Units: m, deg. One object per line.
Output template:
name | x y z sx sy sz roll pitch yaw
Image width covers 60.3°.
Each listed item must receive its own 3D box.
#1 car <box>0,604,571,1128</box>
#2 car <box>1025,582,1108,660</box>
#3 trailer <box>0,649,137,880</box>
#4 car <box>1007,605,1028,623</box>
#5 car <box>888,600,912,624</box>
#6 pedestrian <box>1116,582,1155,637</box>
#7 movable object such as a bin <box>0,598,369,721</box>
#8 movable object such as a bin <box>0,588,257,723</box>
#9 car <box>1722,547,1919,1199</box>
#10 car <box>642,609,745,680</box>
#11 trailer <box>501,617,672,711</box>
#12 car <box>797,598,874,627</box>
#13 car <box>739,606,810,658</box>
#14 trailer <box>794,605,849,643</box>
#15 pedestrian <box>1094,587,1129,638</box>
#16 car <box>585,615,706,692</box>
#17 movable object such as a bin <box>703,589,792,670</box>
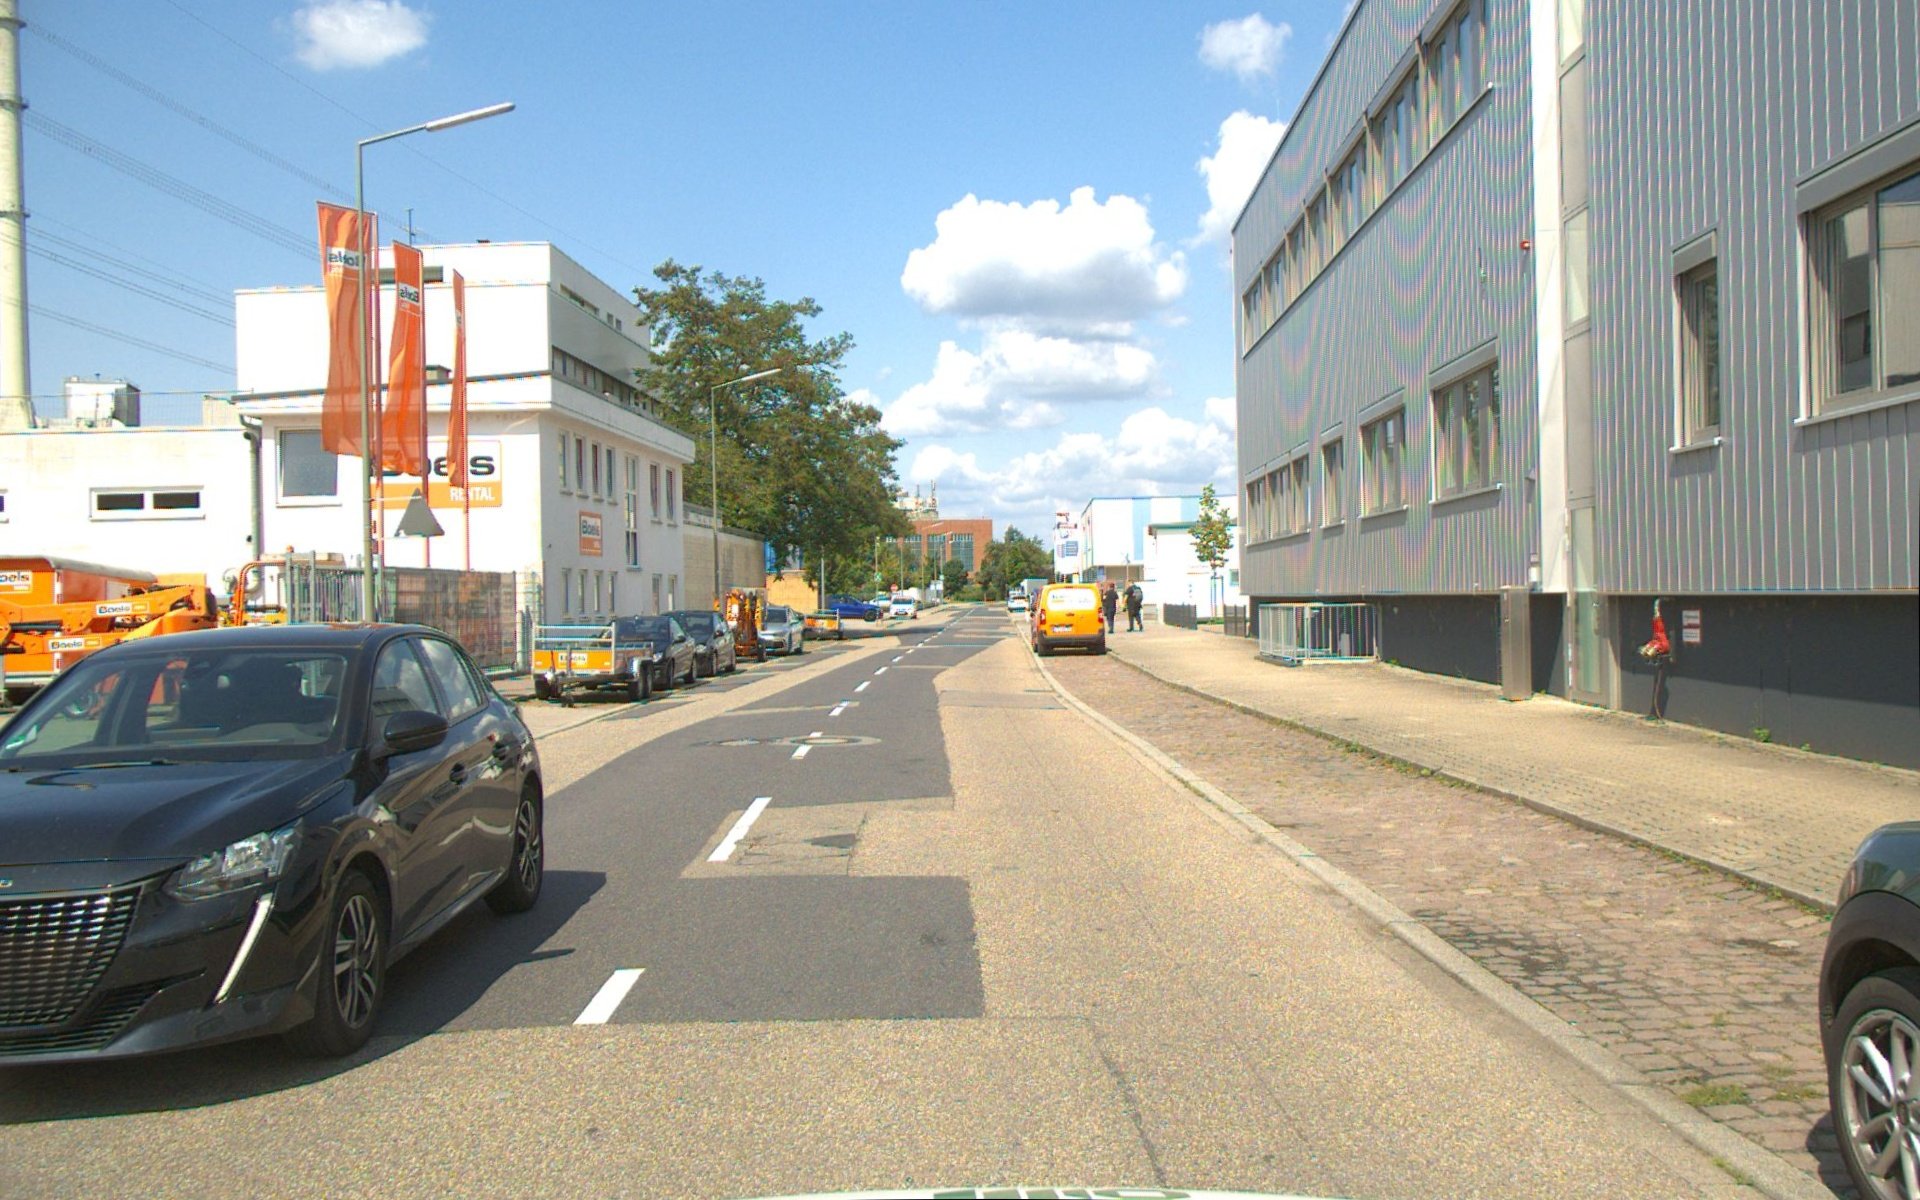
car | -2.885 0.802 6.750 1.700 1.467 3.998 -3 0 -2
car | 2.826 0.553 44.773 1.834 1.925 4.452 3 -1 -1
trailer | -6.268 0.863 7.109 2.400 1.184 6.052 0 -1 0
car | 5.123 1.215 147.878 1.829 1.547 4.598 -1 -1 1
car | -4.274 0.865 117.786 1.651 1.693 3.998 0 0 -2
pedestrian | 6.507 0.365 61.278 0.975 1.986 1.084 -2 -1 -21
movable object such as a bin | -14.499 1.022 29.123 7.452 2.040 1.903 0 0 -7
movable object such as a bin | -14.873 0.856 26.003 6.729 2.040 1.903 0 0 -7
car | 3.063 0.653 2.700 1.675 1.537 4.114 1 -1 -1
car | -5.851 0.959 36.717 1.639 1.481 4.223 0 -1 0
trailer | -6.077 0.997 27.504 1.731 1.400 5.050 0 -1 0
car | -7.970 0.822 105.812 4.604 1.621 1.910 -3 0 -12
car | -5.509 0.933 49.453 1.639 1.481 4.513 0 -1 0
trailer | -5.517 0.951 66.337 1.730 1.464 4.336 1 -1 1
pedestrian | 5.542 0.455 60.535 0.844 1.839 0.999 -2 -1 -21
car | -6.076 0.997 32.354 1.639 1.400 3.883 0 -1 0
movable object such as a bin | -5.591 0.739 44.059 1.580 1.952 5.138 2 0 1
